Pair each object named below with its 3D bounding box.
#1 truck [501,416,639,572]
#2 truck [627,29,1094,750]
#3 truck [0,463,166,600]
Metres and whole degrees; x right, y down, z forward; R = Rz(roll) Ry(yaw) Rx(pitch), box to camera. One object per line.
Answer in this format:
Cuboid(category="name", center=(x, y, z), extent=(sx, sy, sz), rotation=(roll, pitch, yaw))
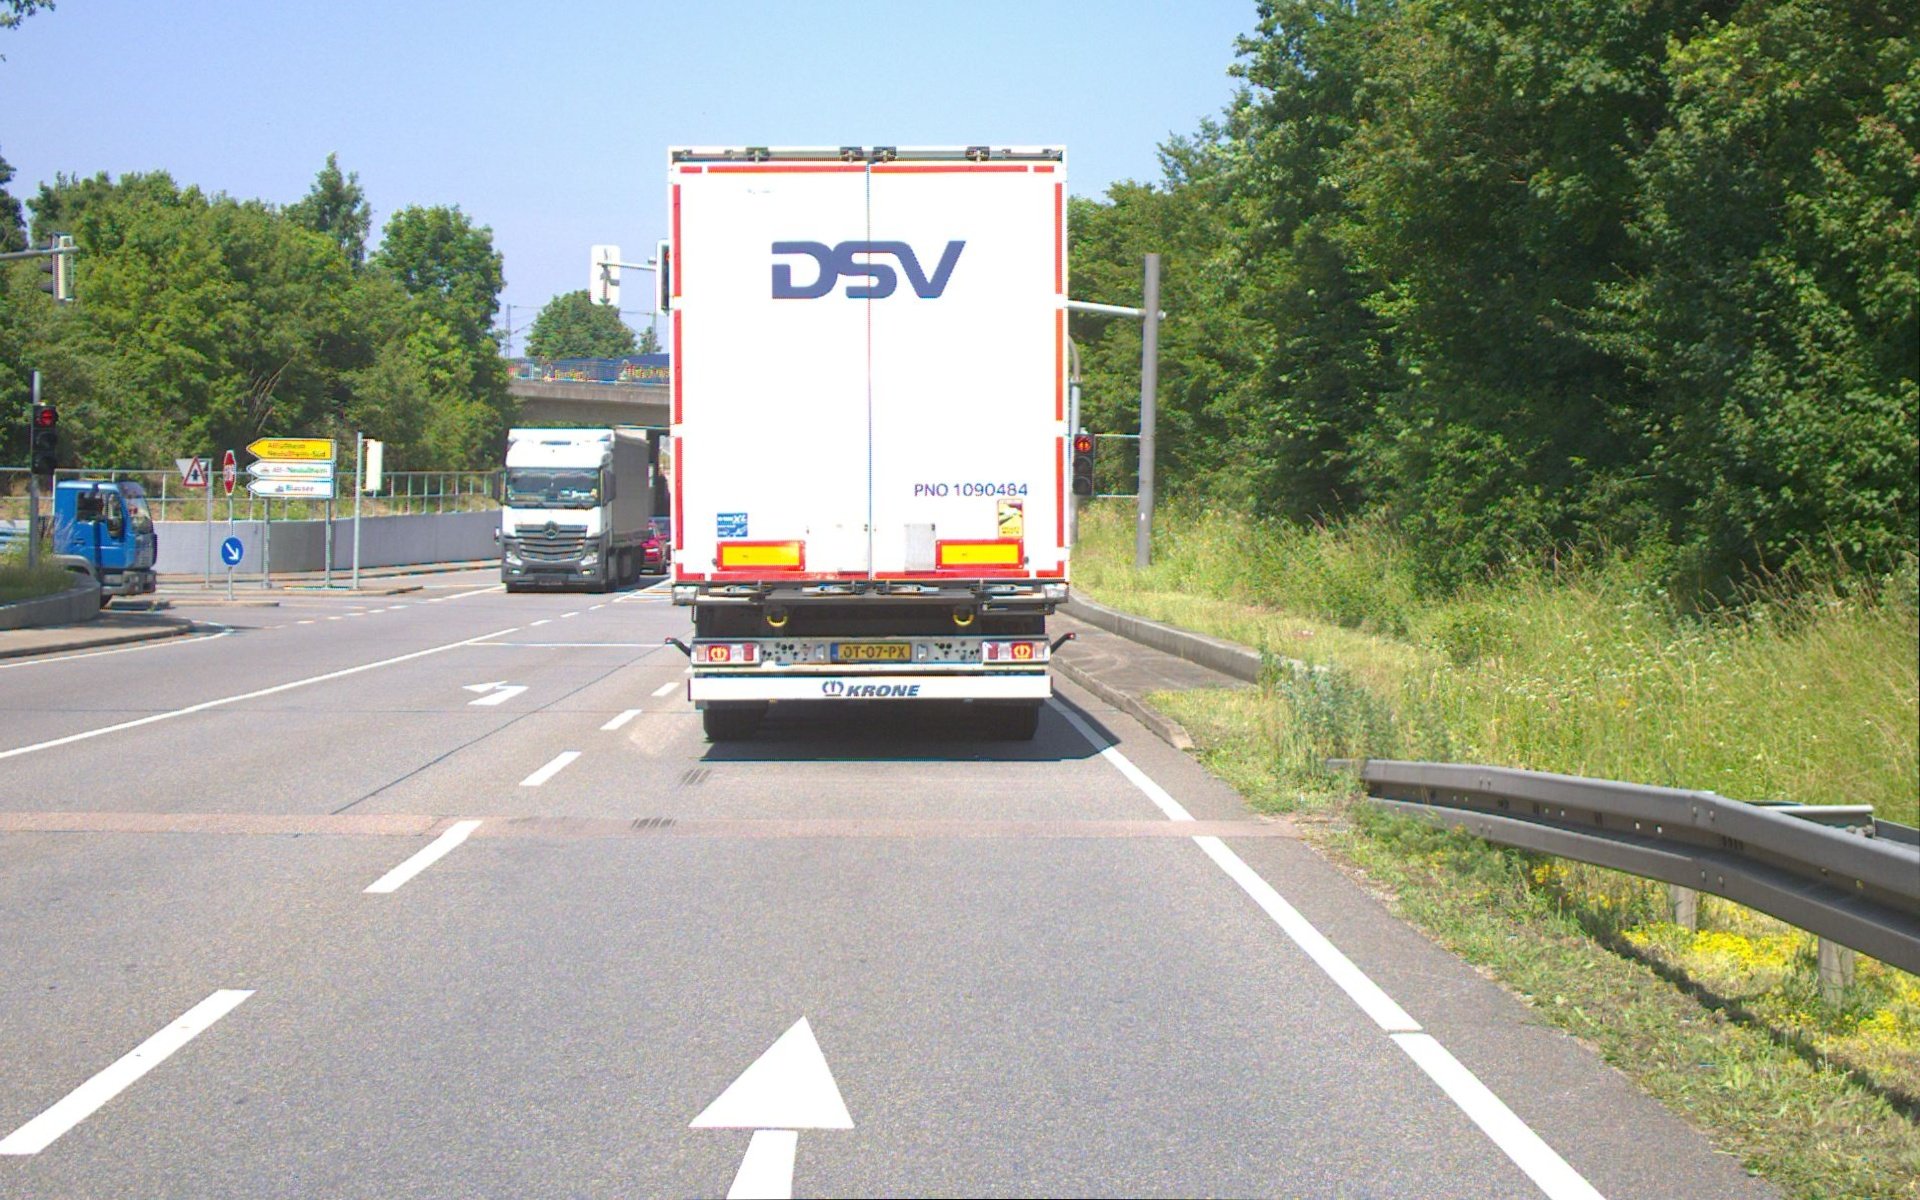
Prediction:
Cuboid(category="truck", center=(-9.940, -2.730, 88.714), extent=(2.353, 3.737, 12.627), rotation=(0, 2, -1))
Cuboid(category="truck", center=(-0.790, -1.436, 26.722), extent=(2.949, 4.553, 9.864), rotation=(0, 1, -2))
Cuboid(category="truck", center=(-18.384, -1.308, 64.368), extent=(6.410, 2.490, 2.715), rotation=(1, 1, 0))
